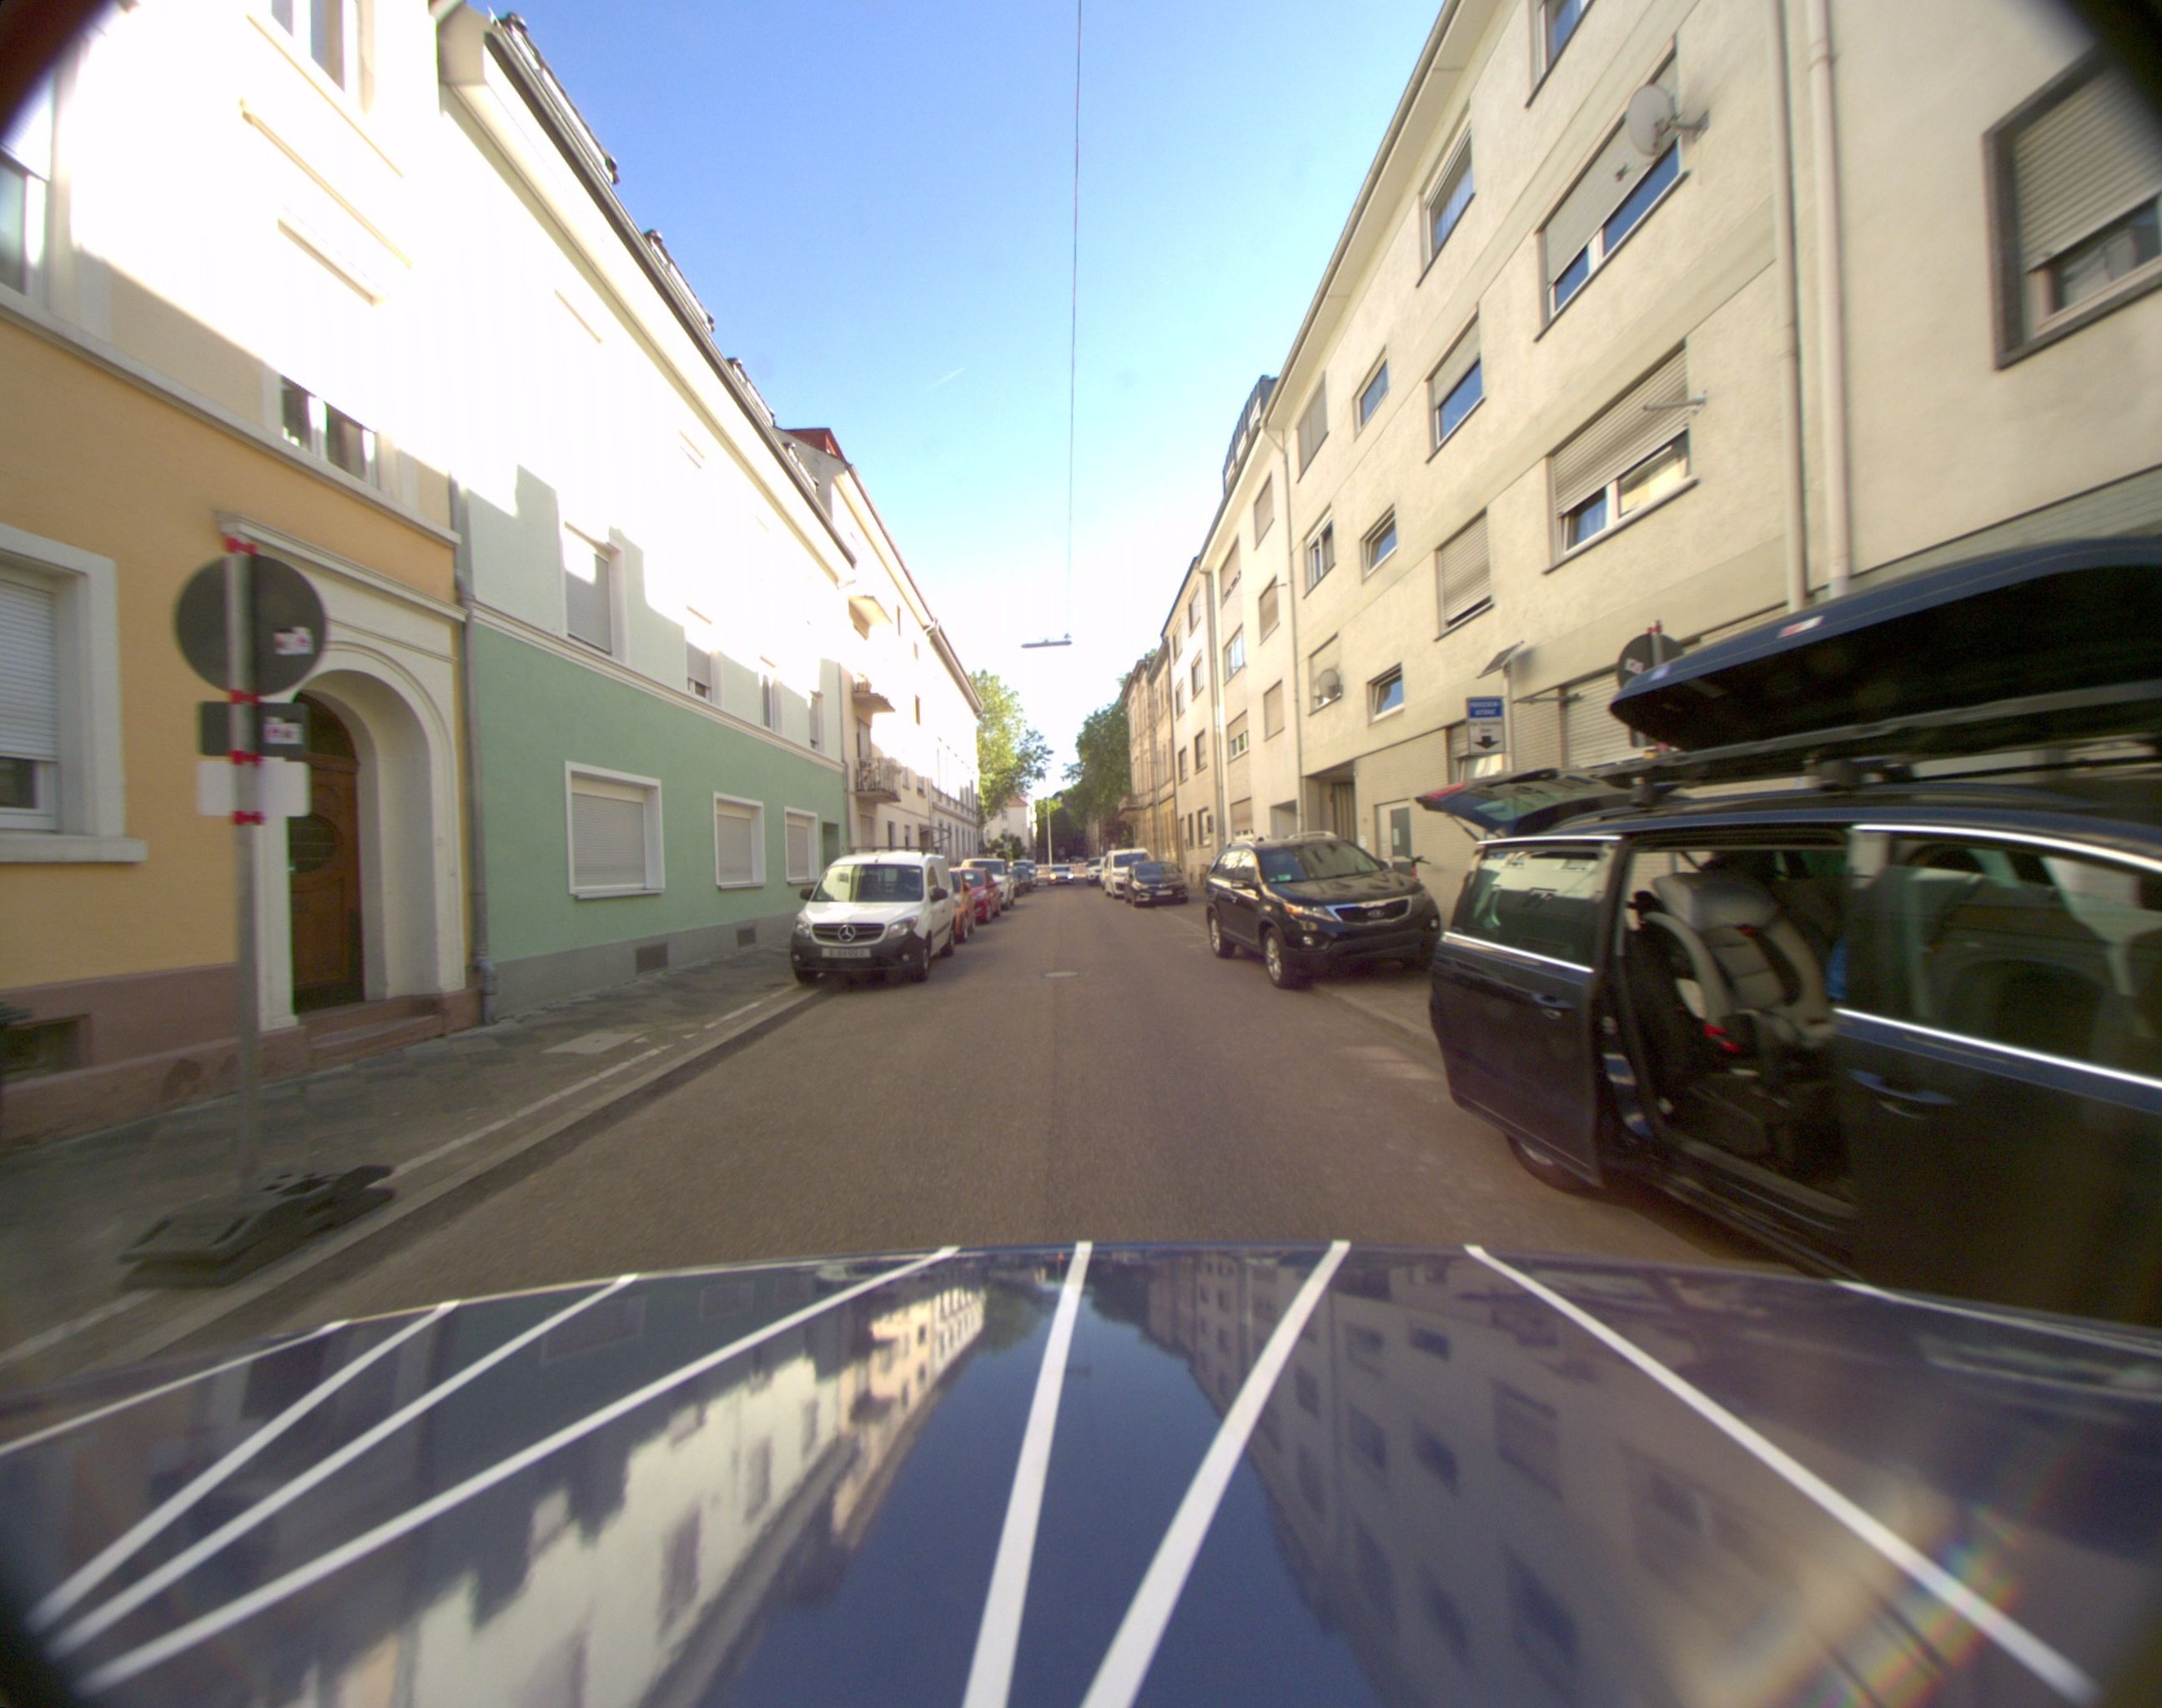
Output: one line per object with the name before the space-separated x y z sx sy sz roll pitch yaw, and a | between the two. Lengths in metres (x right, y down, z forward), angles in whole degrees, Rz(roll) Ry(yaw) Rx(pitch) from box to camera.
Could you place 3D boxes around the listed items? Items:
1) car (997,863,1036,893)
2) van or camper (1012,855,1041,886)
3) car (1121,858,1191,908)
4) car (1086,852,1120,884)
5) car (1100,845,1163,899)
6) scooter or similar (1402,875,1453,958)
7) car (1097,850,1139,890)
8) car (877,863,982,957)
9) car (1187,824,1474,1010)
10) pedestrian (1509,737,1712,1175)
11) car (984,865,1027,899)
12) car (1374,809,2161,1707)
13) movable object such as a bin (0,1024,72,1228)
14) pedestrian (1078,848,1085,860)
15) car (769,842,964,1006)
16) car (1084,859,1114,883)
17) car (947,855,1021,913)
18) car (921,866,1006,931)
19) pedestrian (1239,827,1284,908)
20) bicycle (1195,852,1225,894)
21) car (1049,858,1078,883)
car | -3.603 1.317 43.325 1.819 1.510 4.727 -4 -1 -1
van or camper | -3.858 1.170 54.717 1.899 2.001 5.030 -2 -1 -3
car | 2.419 0.902 25.553 1.711 1.442 4.300 -3 0 -2
car | 1.436 0.912 51.232 2.027 2.002 4.542 -2 0 -1
car | 2.018 0.716 31.739 1.899 1.946 4.780 -4 -1 -3
scooter or similar | 5.809 1.012 12.711 0.437 1.270 1.236 -1 0 40
car | 1.931 0.856 40.842 1.749 1.865 4.090 -6 -1 -1
car | -3.062 1.069 16.049 1.585 1.622 3.681 -4 0 -4
car | 2.915 0.683 10.129 1.885 1.745 4.541 -5 0 -5
pedestrian | 2.892 0.520 4.206 0.620 2.216 0.688 -2 2 -1
car | -3.691 1.343 37.664 1.751 1.440 3.869 -4 -1 -1
car | 3.111 0.722 2.086 2.448 1.696 5.241 -3 0 -1
movable object such as a bin | -5.561 1.355 3.597 0.655 0.930 0.642 -2 0 -3
pedestrian | 0.086 0.003 115.592 0.761 1.651 0.826 -2 0 -29
car | -2.964 0.857 11.511 1.787 1.950 4.335 -2 0 -2
car | 1.335 1.280 58.130 1.872 1.552 3.941 -4 1 -3
car | -3.324 0.997 26.938 2.010 1.773 4.938 -2 -1 -1
car | -3.122 1.137 20.962 1.747 1.559 4.032 -2 -1 -1
pedestrian | 4.499 0.341 18.958 0.808 1.923 0.690 -5 0 -1
bicycle | 4.823 0.705 28.490 0.559 1.500 1.799 -4 0 -5
car | -1.334 1.218 56.756 2.010 1.693 4.503 -2 -1 -1
